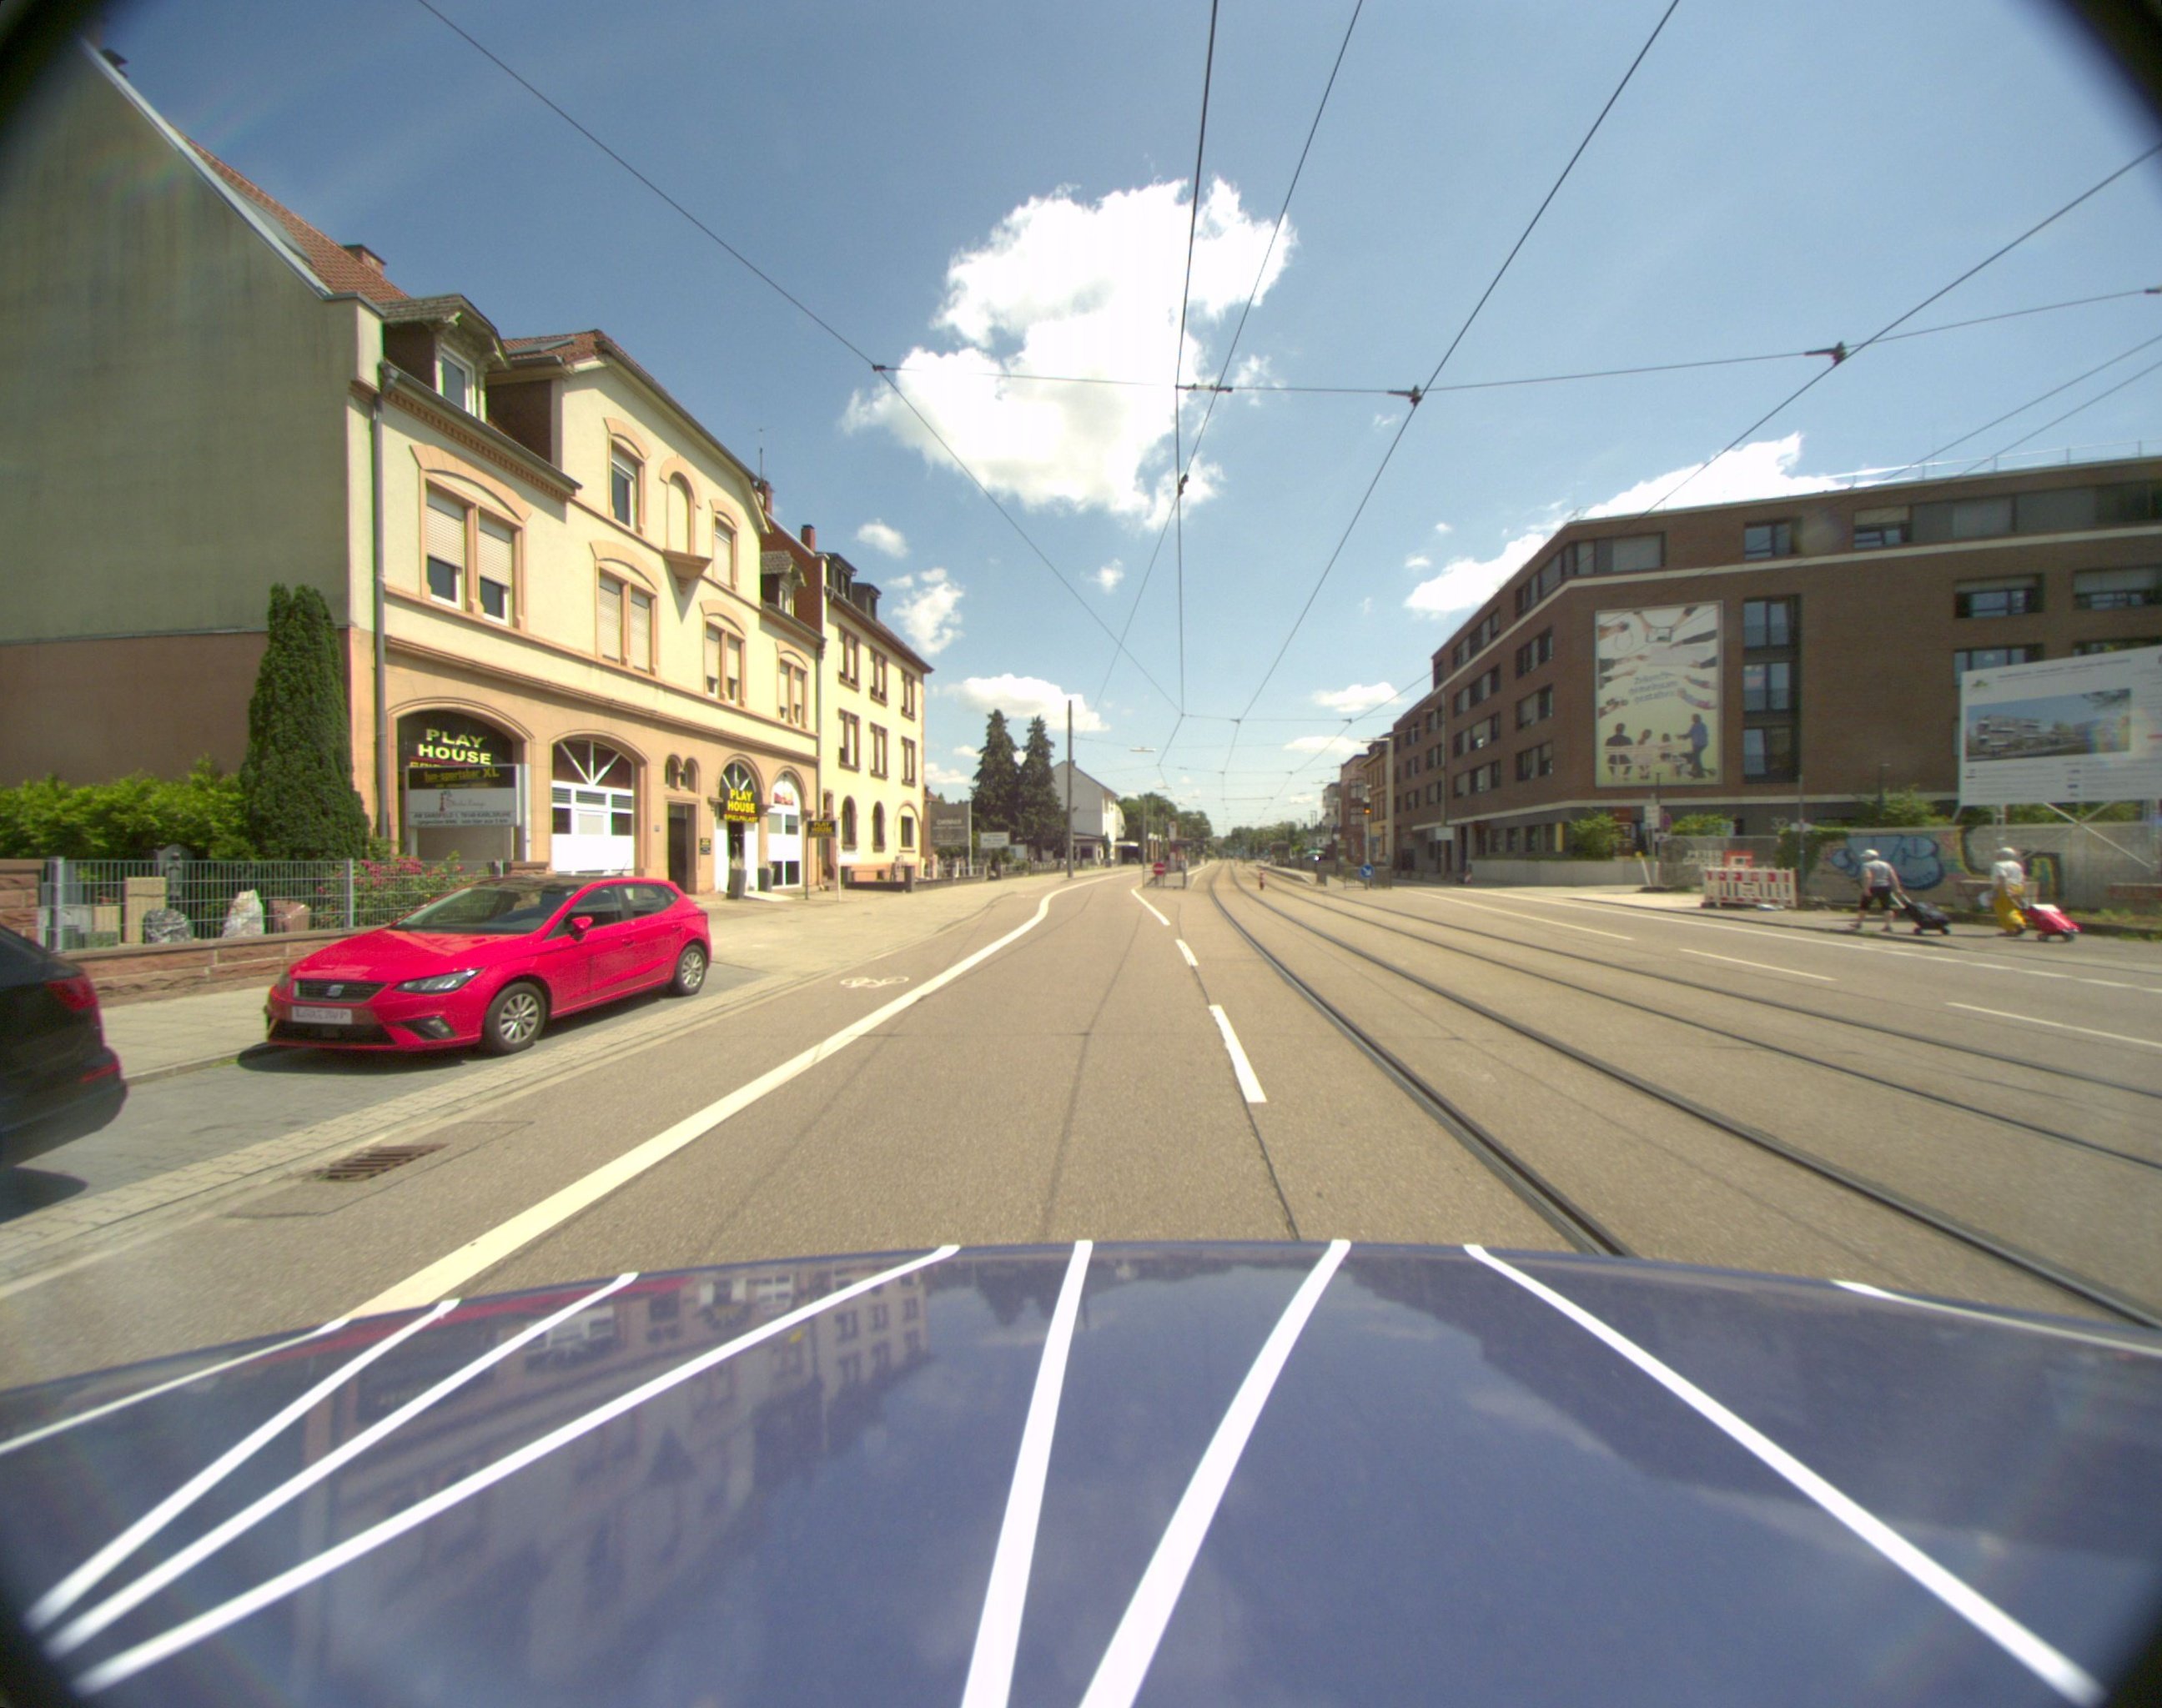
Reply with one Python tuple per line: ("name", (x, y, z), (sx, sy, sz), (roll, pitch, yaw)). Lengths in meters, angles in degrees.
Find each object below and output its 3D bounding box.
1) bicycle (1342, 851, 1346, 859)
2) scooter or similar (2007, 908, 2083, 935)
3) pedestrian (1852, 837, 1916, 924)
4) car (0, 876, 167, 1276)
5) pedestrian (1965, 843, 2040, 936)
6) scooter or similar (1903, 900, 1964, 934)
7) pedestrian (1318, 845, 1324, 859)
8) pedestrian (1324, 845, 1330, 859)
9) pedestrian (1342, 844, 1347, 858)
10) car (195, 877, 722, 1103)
("bicycle", (26.822, 0.083, 77.486), (0.292, 0.757, 1.188), (2, 2, 12))
("scooter or similar", (16.554, 1.159, 13.062), (0.474, 0.392, 0.673), (-1, 1, 11))
("pedestrian", (15.619, 0.502, 14.792), (0.581, 1.662, 0.668), (-1, 1, 12))
("car", (-5.730, 0.959, 1.370), (1.867, 1.677, 5.002), (0, 0, 6))
("pedestrian", (16.710, 0.622, 13.792), (0.553, 1.648, 0.673), (-1, 1, 11))
("scooter or similar", (15.745, 1.155, 14.049), (0.477, 0.577, 0.632), (-1, 1, 14))
("pedestrian", (34.321, -0.308, 108.550), (0.678, 2.002, 0.685), (-1, 1, 9))
("pedestrian", (35.125, -0.299, 108.382), (0.618, 2.002, 0.811), (-1, 1, 9))
("pedestrian", (26.851, -0.335, 77.440), (0.436, 1.376, 0.536), (2, 2, 11))
("car", (-5.500, 1.044, 7.546), (1.716, 1.444, 4.073), (1, 0, 3))
